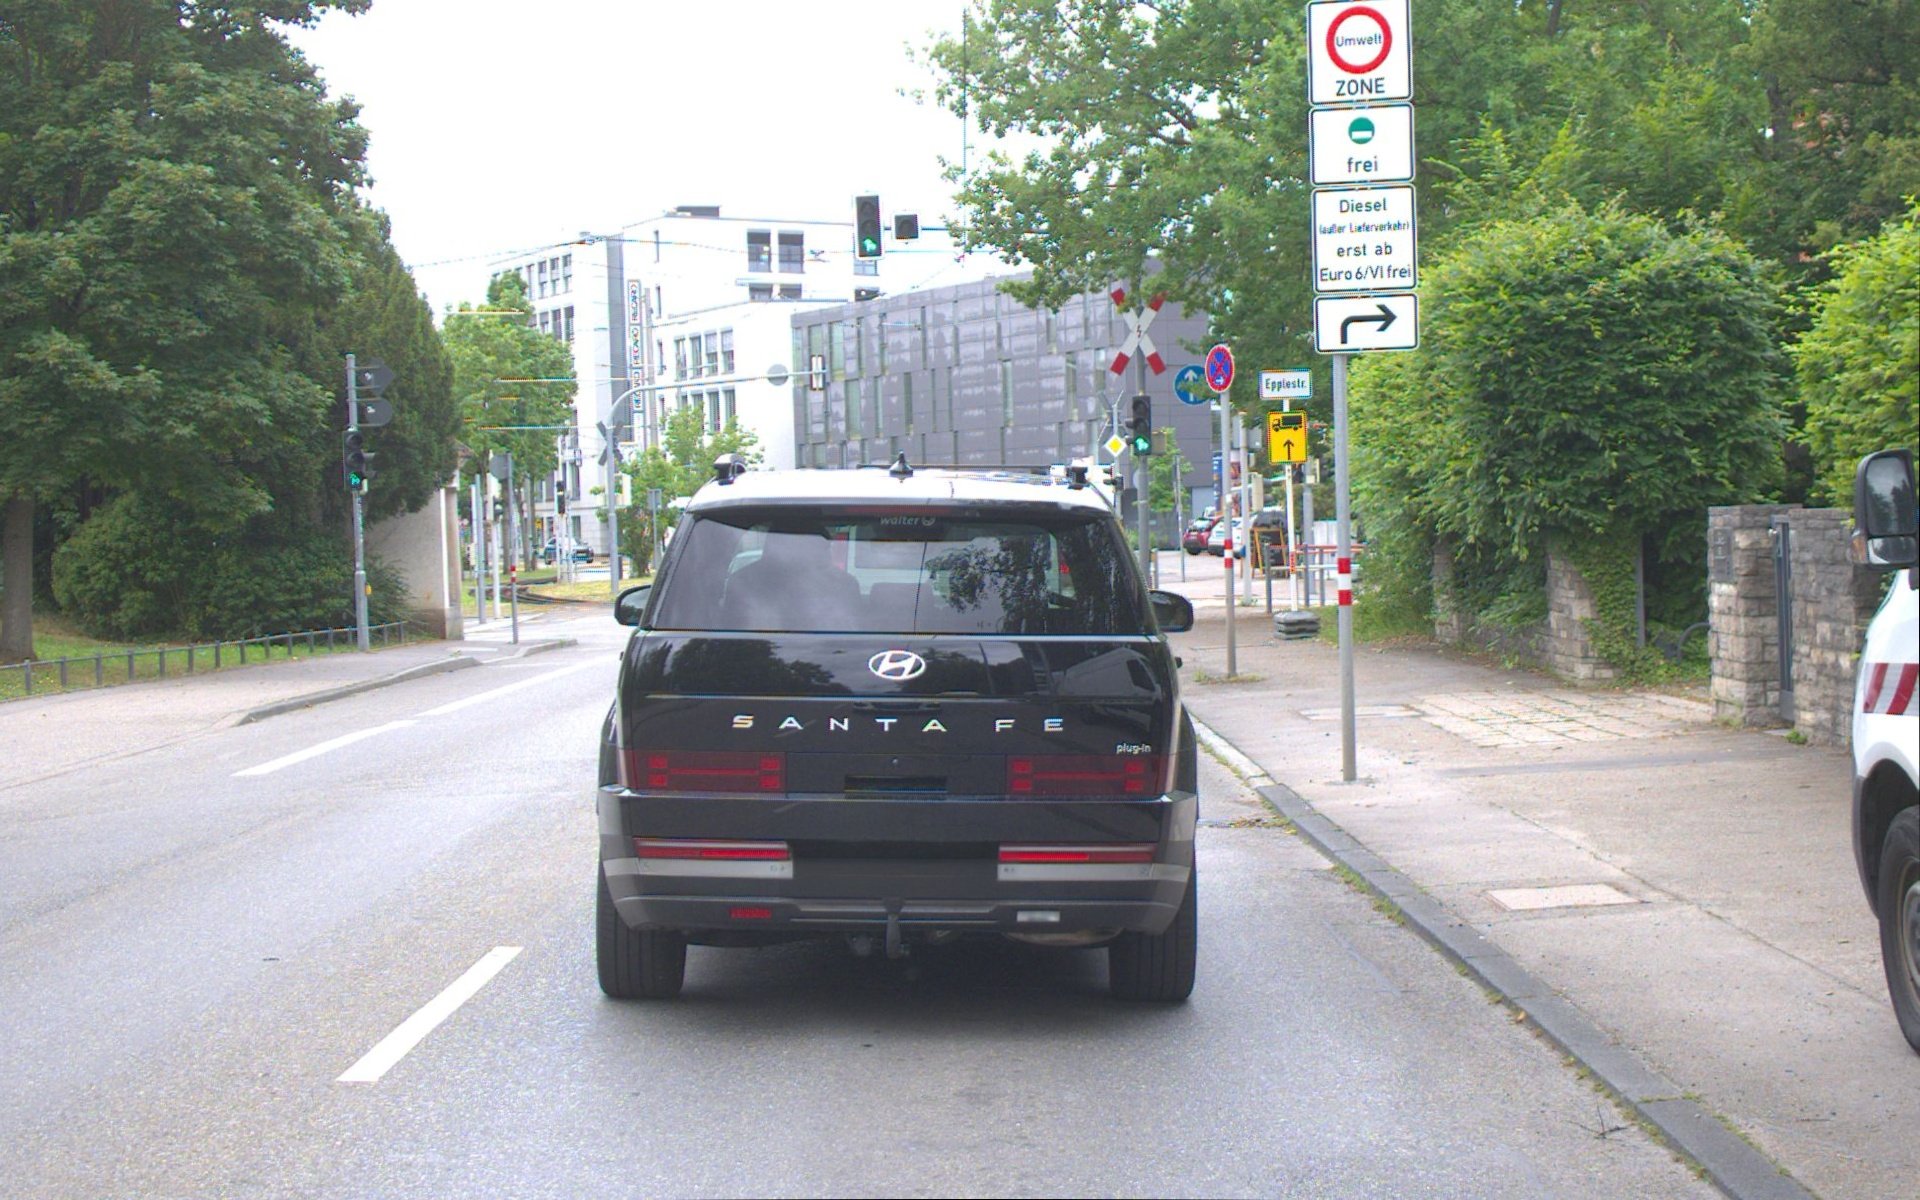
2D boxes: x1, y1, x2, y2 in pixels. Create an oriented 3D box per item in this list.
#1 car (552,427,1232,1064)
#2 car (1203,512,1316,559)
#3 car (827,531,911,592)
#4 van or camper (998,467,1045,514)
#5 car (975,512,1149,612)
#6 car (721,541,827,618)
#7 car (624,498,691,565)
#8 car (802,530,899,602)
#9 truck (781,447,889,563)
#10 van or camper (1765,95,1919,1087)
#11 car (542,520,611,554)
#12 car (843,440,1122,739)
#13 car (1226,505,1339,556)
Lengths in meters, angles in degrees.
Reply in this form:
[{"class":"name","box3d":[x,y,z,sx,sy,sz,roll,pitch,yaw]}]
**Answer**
[{"class":"car","box3d":[-0.188,0.384,11.811,1.897,1.770,3.994,1,1,0]},{"class":"car","box3d":[10.643,-2.294,122.229,3.640,1.578,1.752,-2,1,-9]},{"class":"car","box3d":[-2.573,-1.099,96.591,1.883,1.633,3.899,-2,1,-8]},{"class":"van or camper","box3d":[2.748,-4.867,153.707,1.795,1.992,3.824,1,1,-3]},{"class":"car","box3d":[1.865,-0.706,61.161,1.869,1.654,4.291,-1,1,19]},{"class":"car","box3d":[-3.730,-0.433,68.372,1.883,1.415,4.001,-2,1,-5]},{"class":"car","box3d":[-11.066,-2.496,125.448,2.332,2.307,4.959,-2,1,-5]},{"class":"car","box3d":[-2.654,-0.828,82.615,1.883,1.633,3.899,-2,1,-8]},{"class":"truck","box3d":[-4.471,-3.298,120.705,3.107,3.846,9.623,-2,1,-5]},{"class":"van or camper","box3d":[3.655,-0.065,6.390,2.340,2.486,6.603,-5,0,-2]},{"class":"car","box3d":[-21.944,-3.600,196.740,1.992,1.831,4.600,-2,1,-33]},{"class":"car","box3d":[0.163,-0.106,25.971,1.897,2.035,3.994,1,1,0]},{"class":"car","box3d":[10.820,-2.340,115.539,3.690,1.578,1.687,-1,1,4]}]
